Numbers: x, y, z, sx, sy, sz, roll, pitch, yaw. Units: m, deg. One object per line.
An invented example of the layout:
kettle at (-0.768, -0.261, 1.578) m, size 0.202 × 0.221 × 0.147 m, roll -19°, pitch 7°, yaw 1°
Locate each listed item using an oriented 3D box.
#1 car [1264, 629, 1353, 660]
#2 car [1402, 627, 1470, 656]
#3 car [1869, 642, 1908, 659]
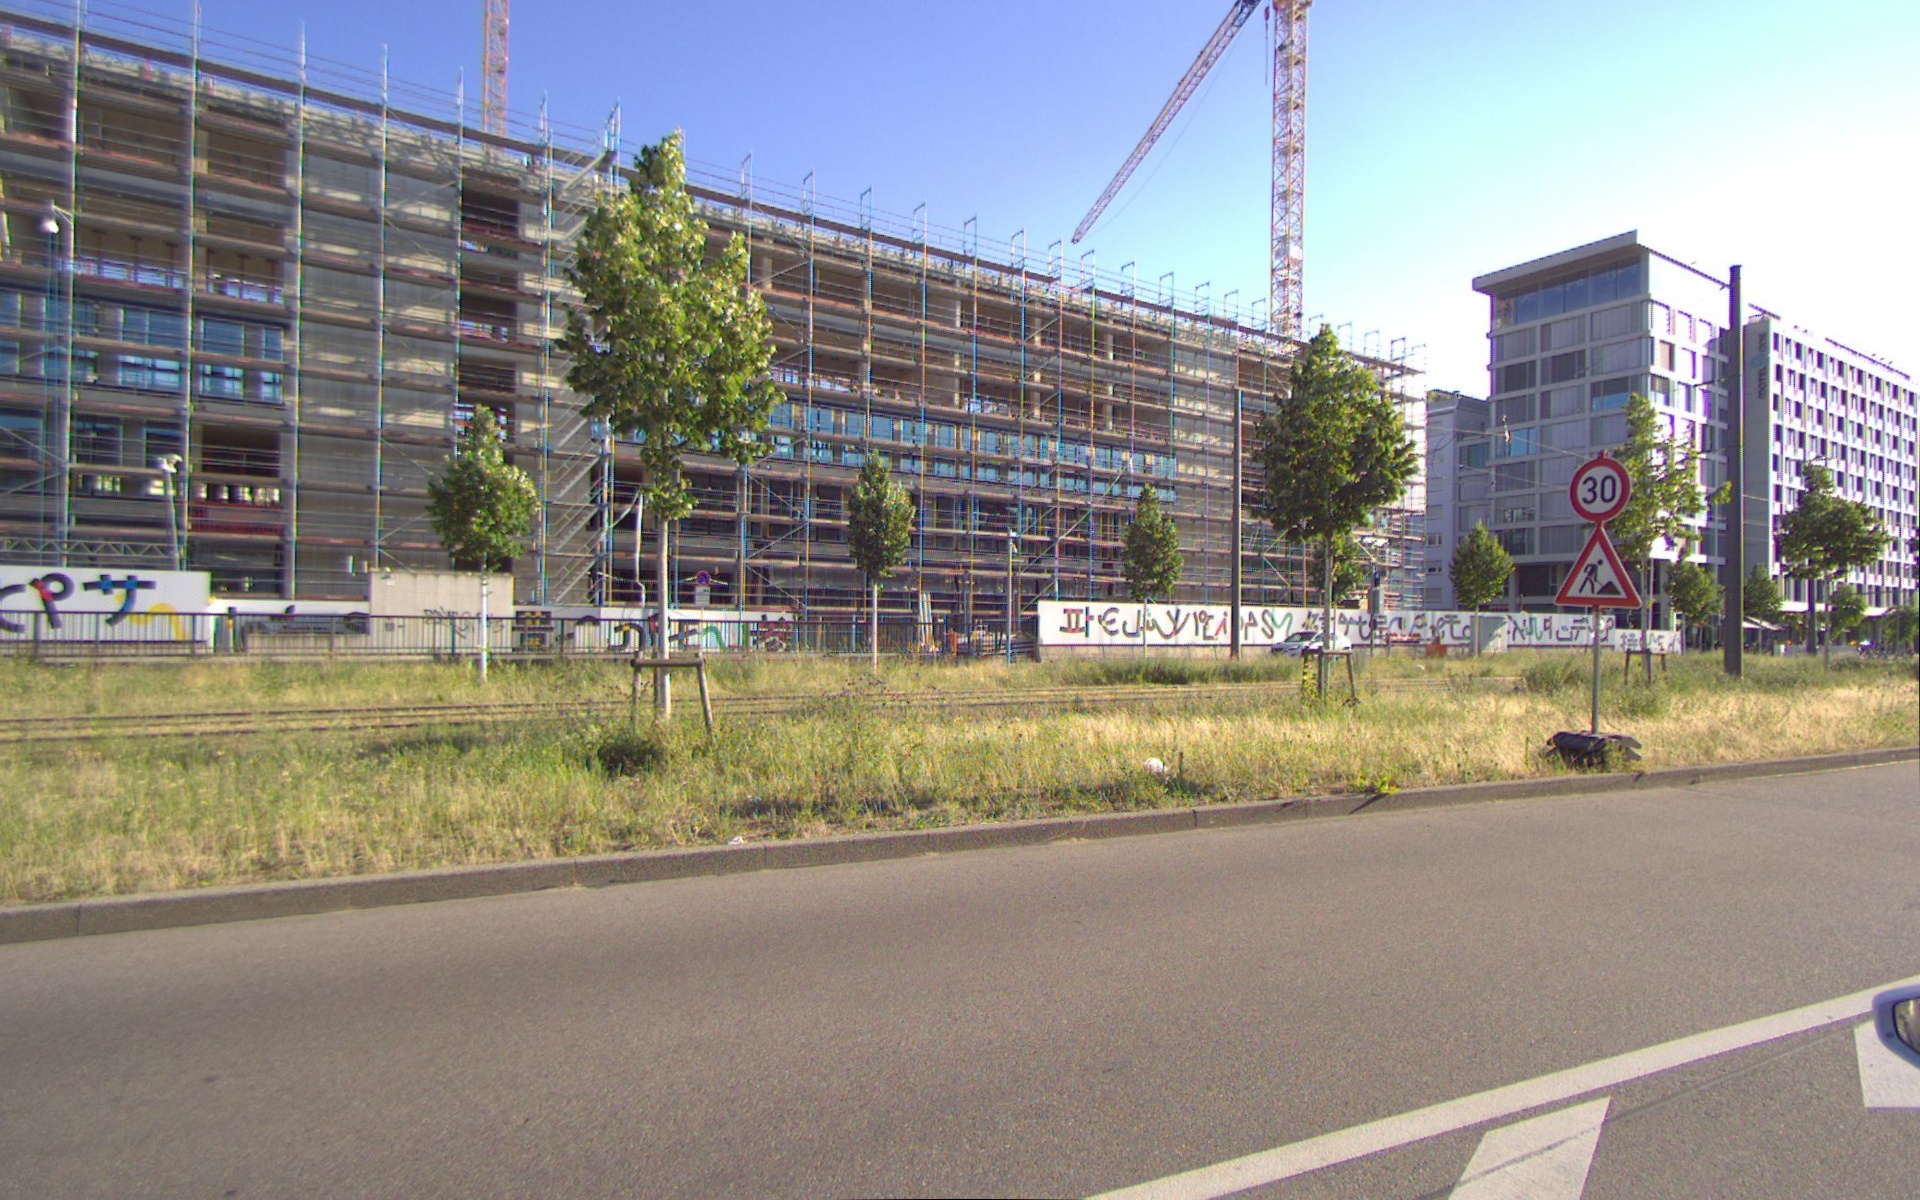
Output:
car at (15.642, 1.971, 45.081) m, size 4.045 × 1.327 × 1.520 m, roll 1°, pitch -1°, yaw -30°
car at (25.860, 2.261, 54.532) m, size 3.543 × 1.461 × 1.699 m, roll 2°, pitch 0°, yaw -32°
car at (84.030, 4.583, 90.897) m, size 3.543 × 1.461 × 1.699 m, roll 2°, pitch 0°, yaw -32°
